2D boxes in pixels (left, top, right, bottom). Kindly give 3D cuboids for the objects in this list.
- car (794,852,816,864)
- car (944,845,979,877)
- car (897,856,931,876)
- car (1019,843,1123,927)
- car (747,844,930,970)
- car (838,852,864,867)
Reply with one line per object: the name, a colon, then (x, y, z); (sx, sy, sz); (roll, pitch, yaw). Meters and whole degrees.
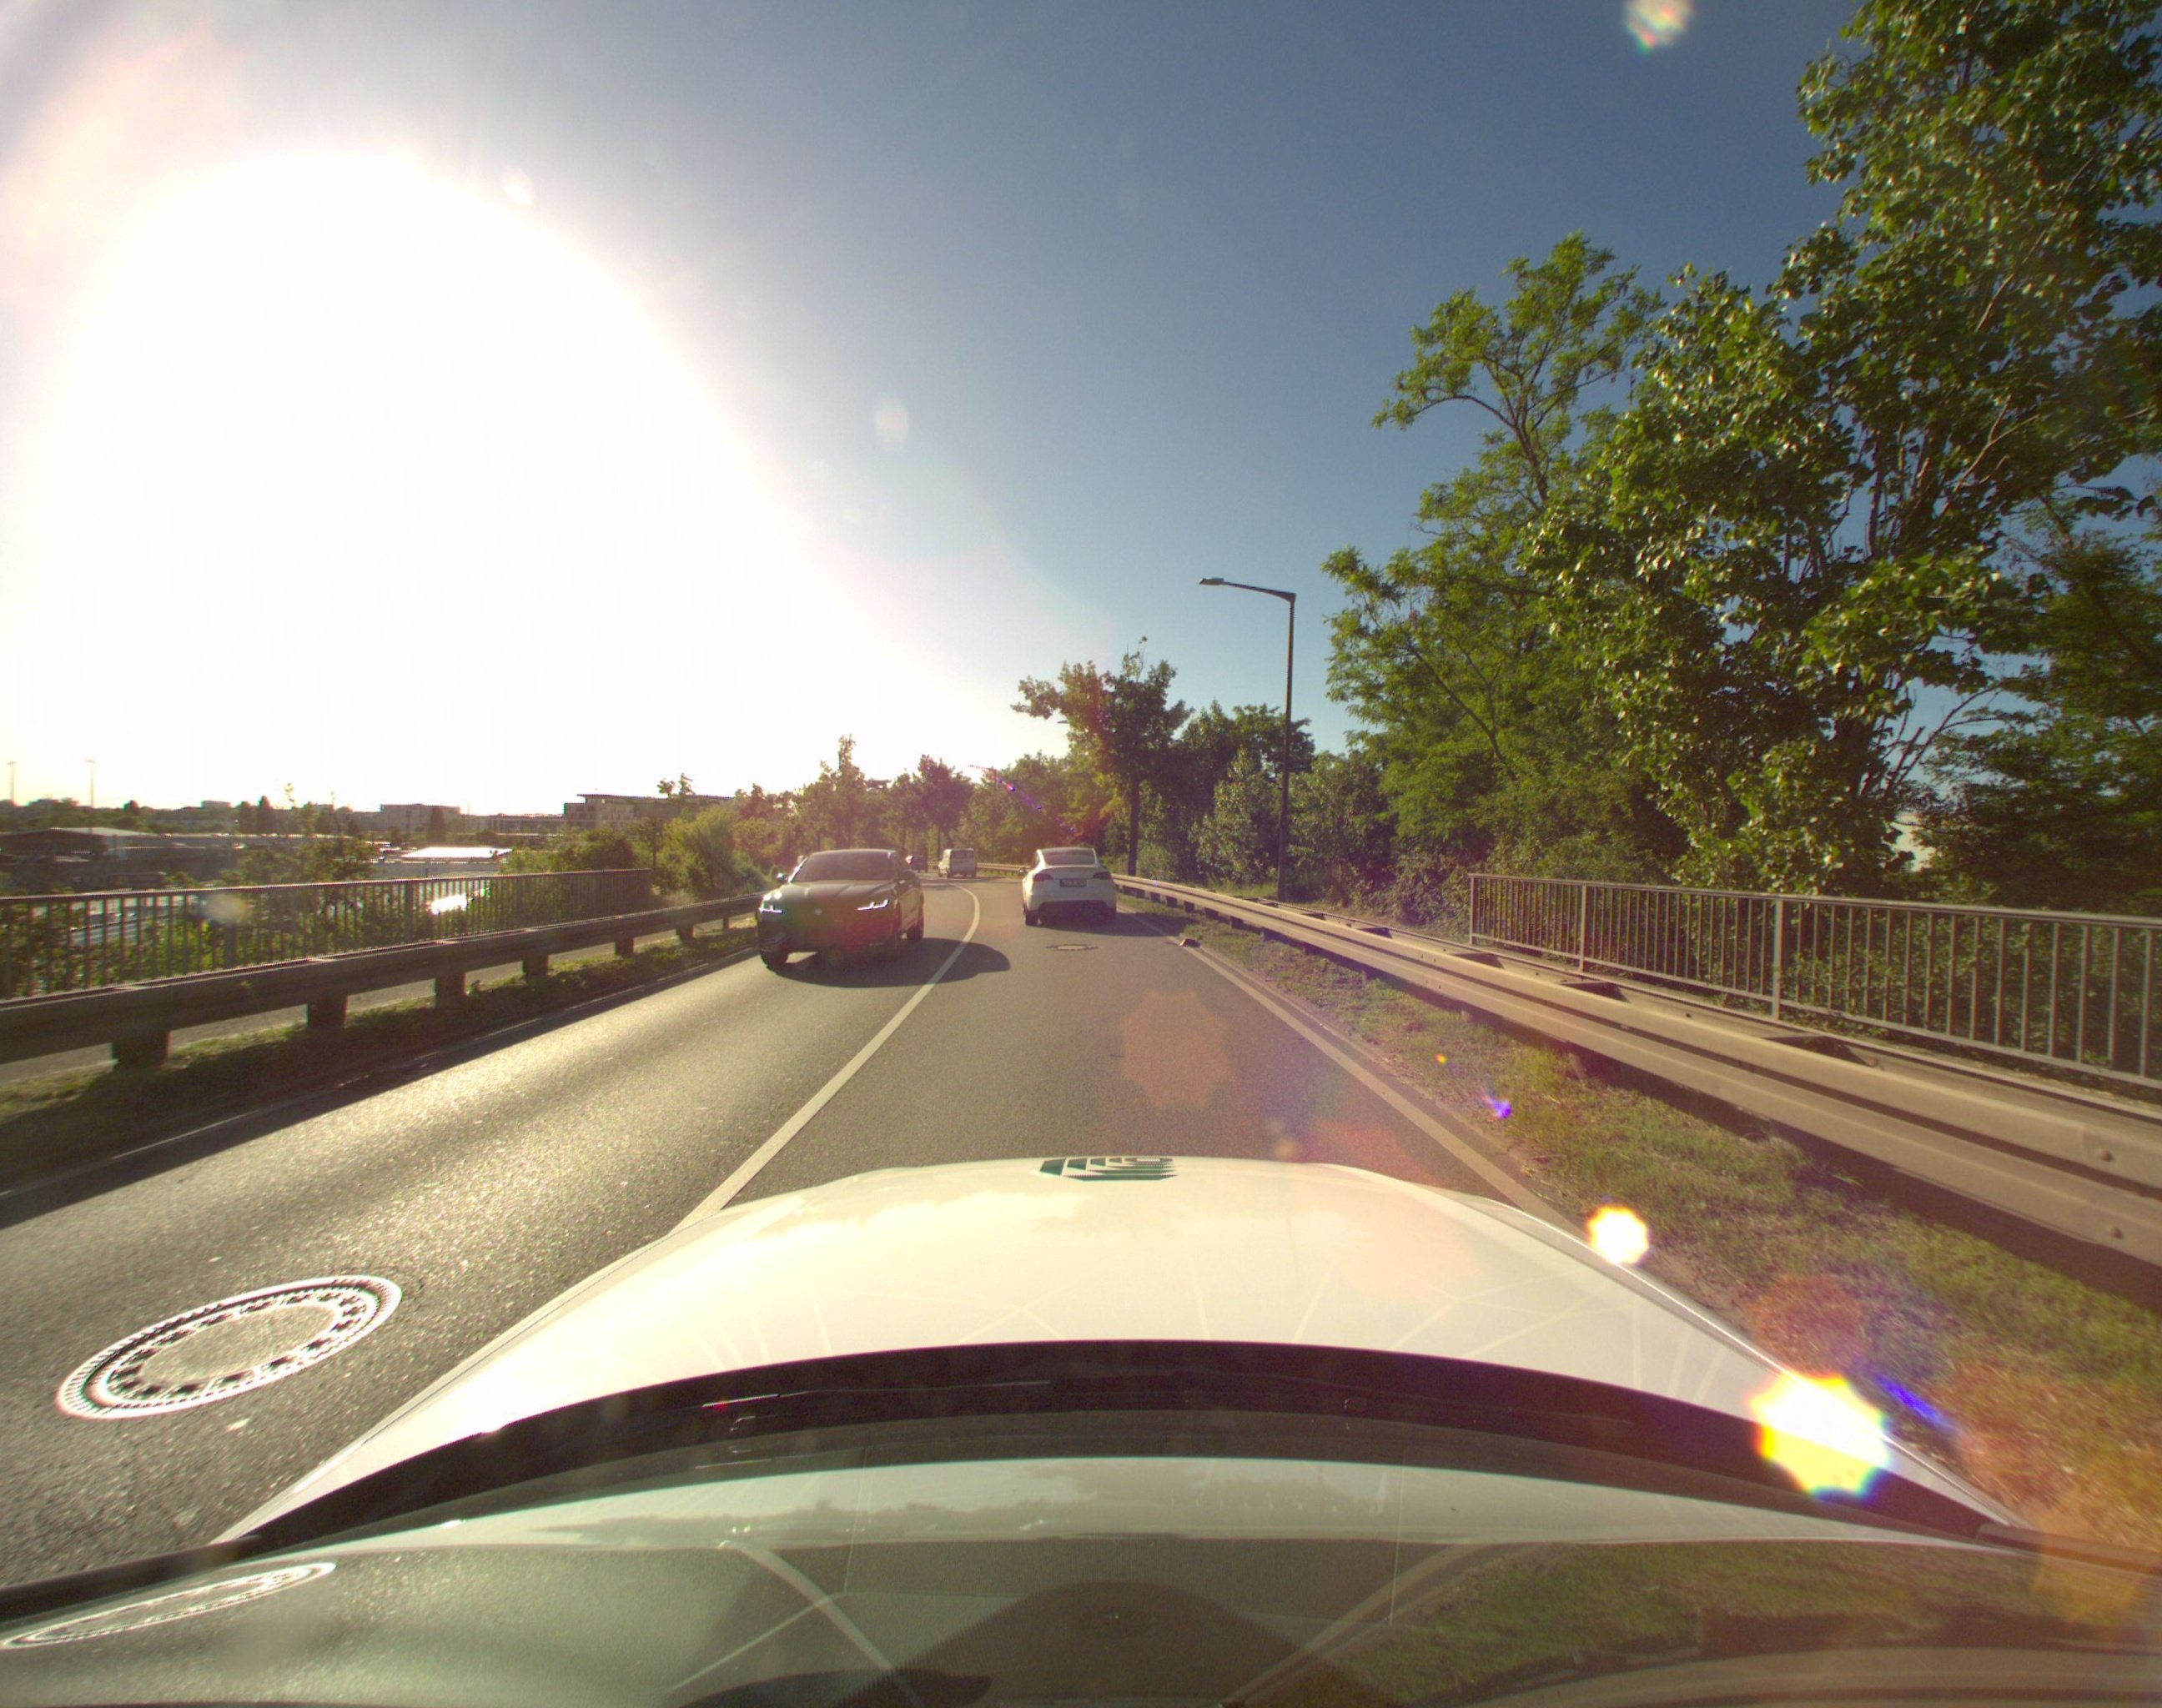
car: (-36.218, 0.478, 106.879); (1.848, 1.555, 3.855); (-1, 1, -31)
car: (-7.860, 0.415, 53.311); (2.007, 1.940, 4.449); (-1, 1, -12)
car: (-14.074, 0.982, 68.498); (1.869, 1.585, 3.880); (-1, 1, -26)
car: (-0.346, 0.602, 18.182); (1.983, 1.637, 4.054); (-1, 0, -6)
car: (-3.662, 0.690, 13.178); (1.895, 1.642, 4.457); (-1, 1, -4)
car: (-24.920, 0.582, 88.124); (1.871, 1.585, 3.877); (-1, 1, -30)
